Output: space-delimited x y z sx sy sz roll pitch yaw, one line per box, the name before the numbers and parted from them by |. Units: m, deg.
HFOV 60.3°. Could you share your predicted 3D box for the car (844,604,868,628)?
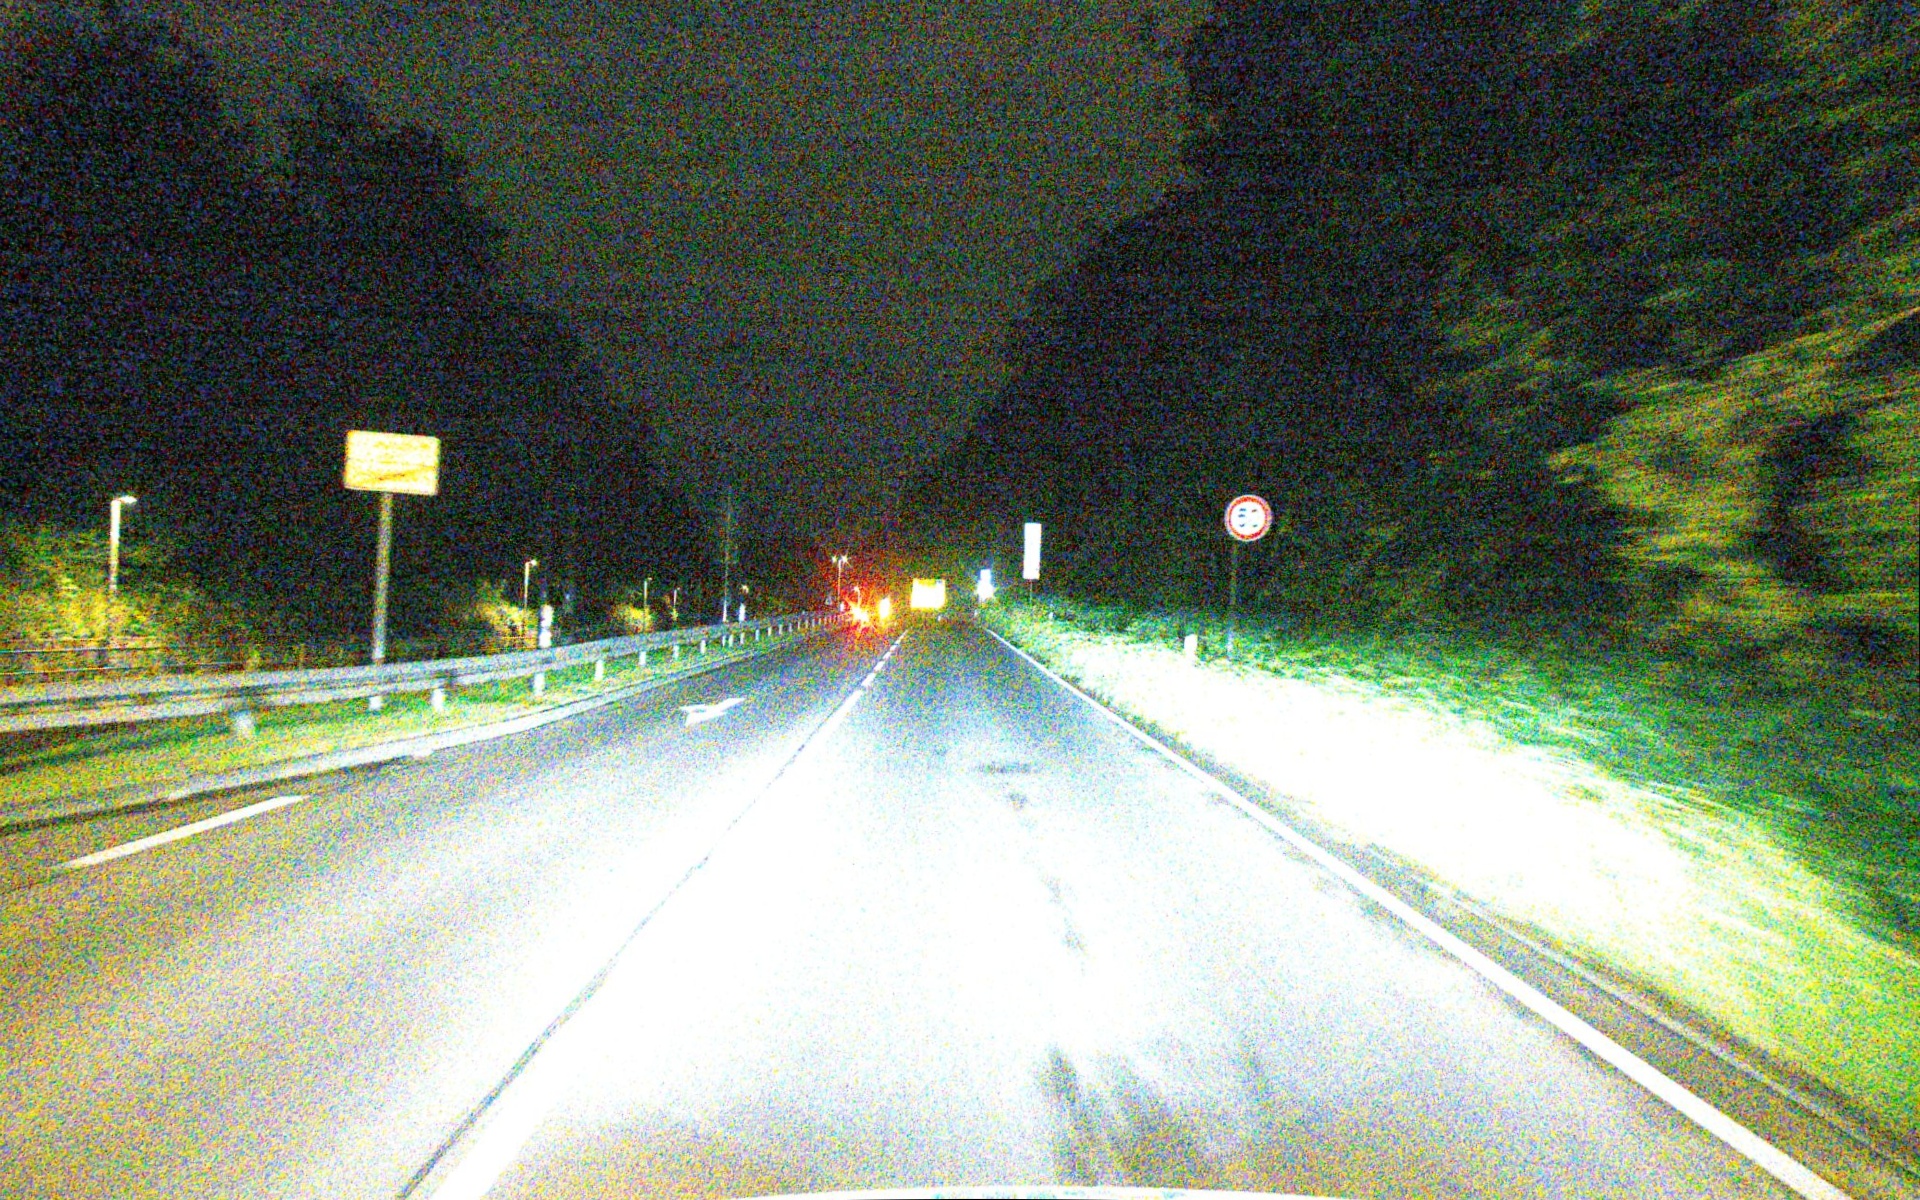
car | -9.922 1.505 157.283 1.956 2.049 3.993 3 -3 -7
